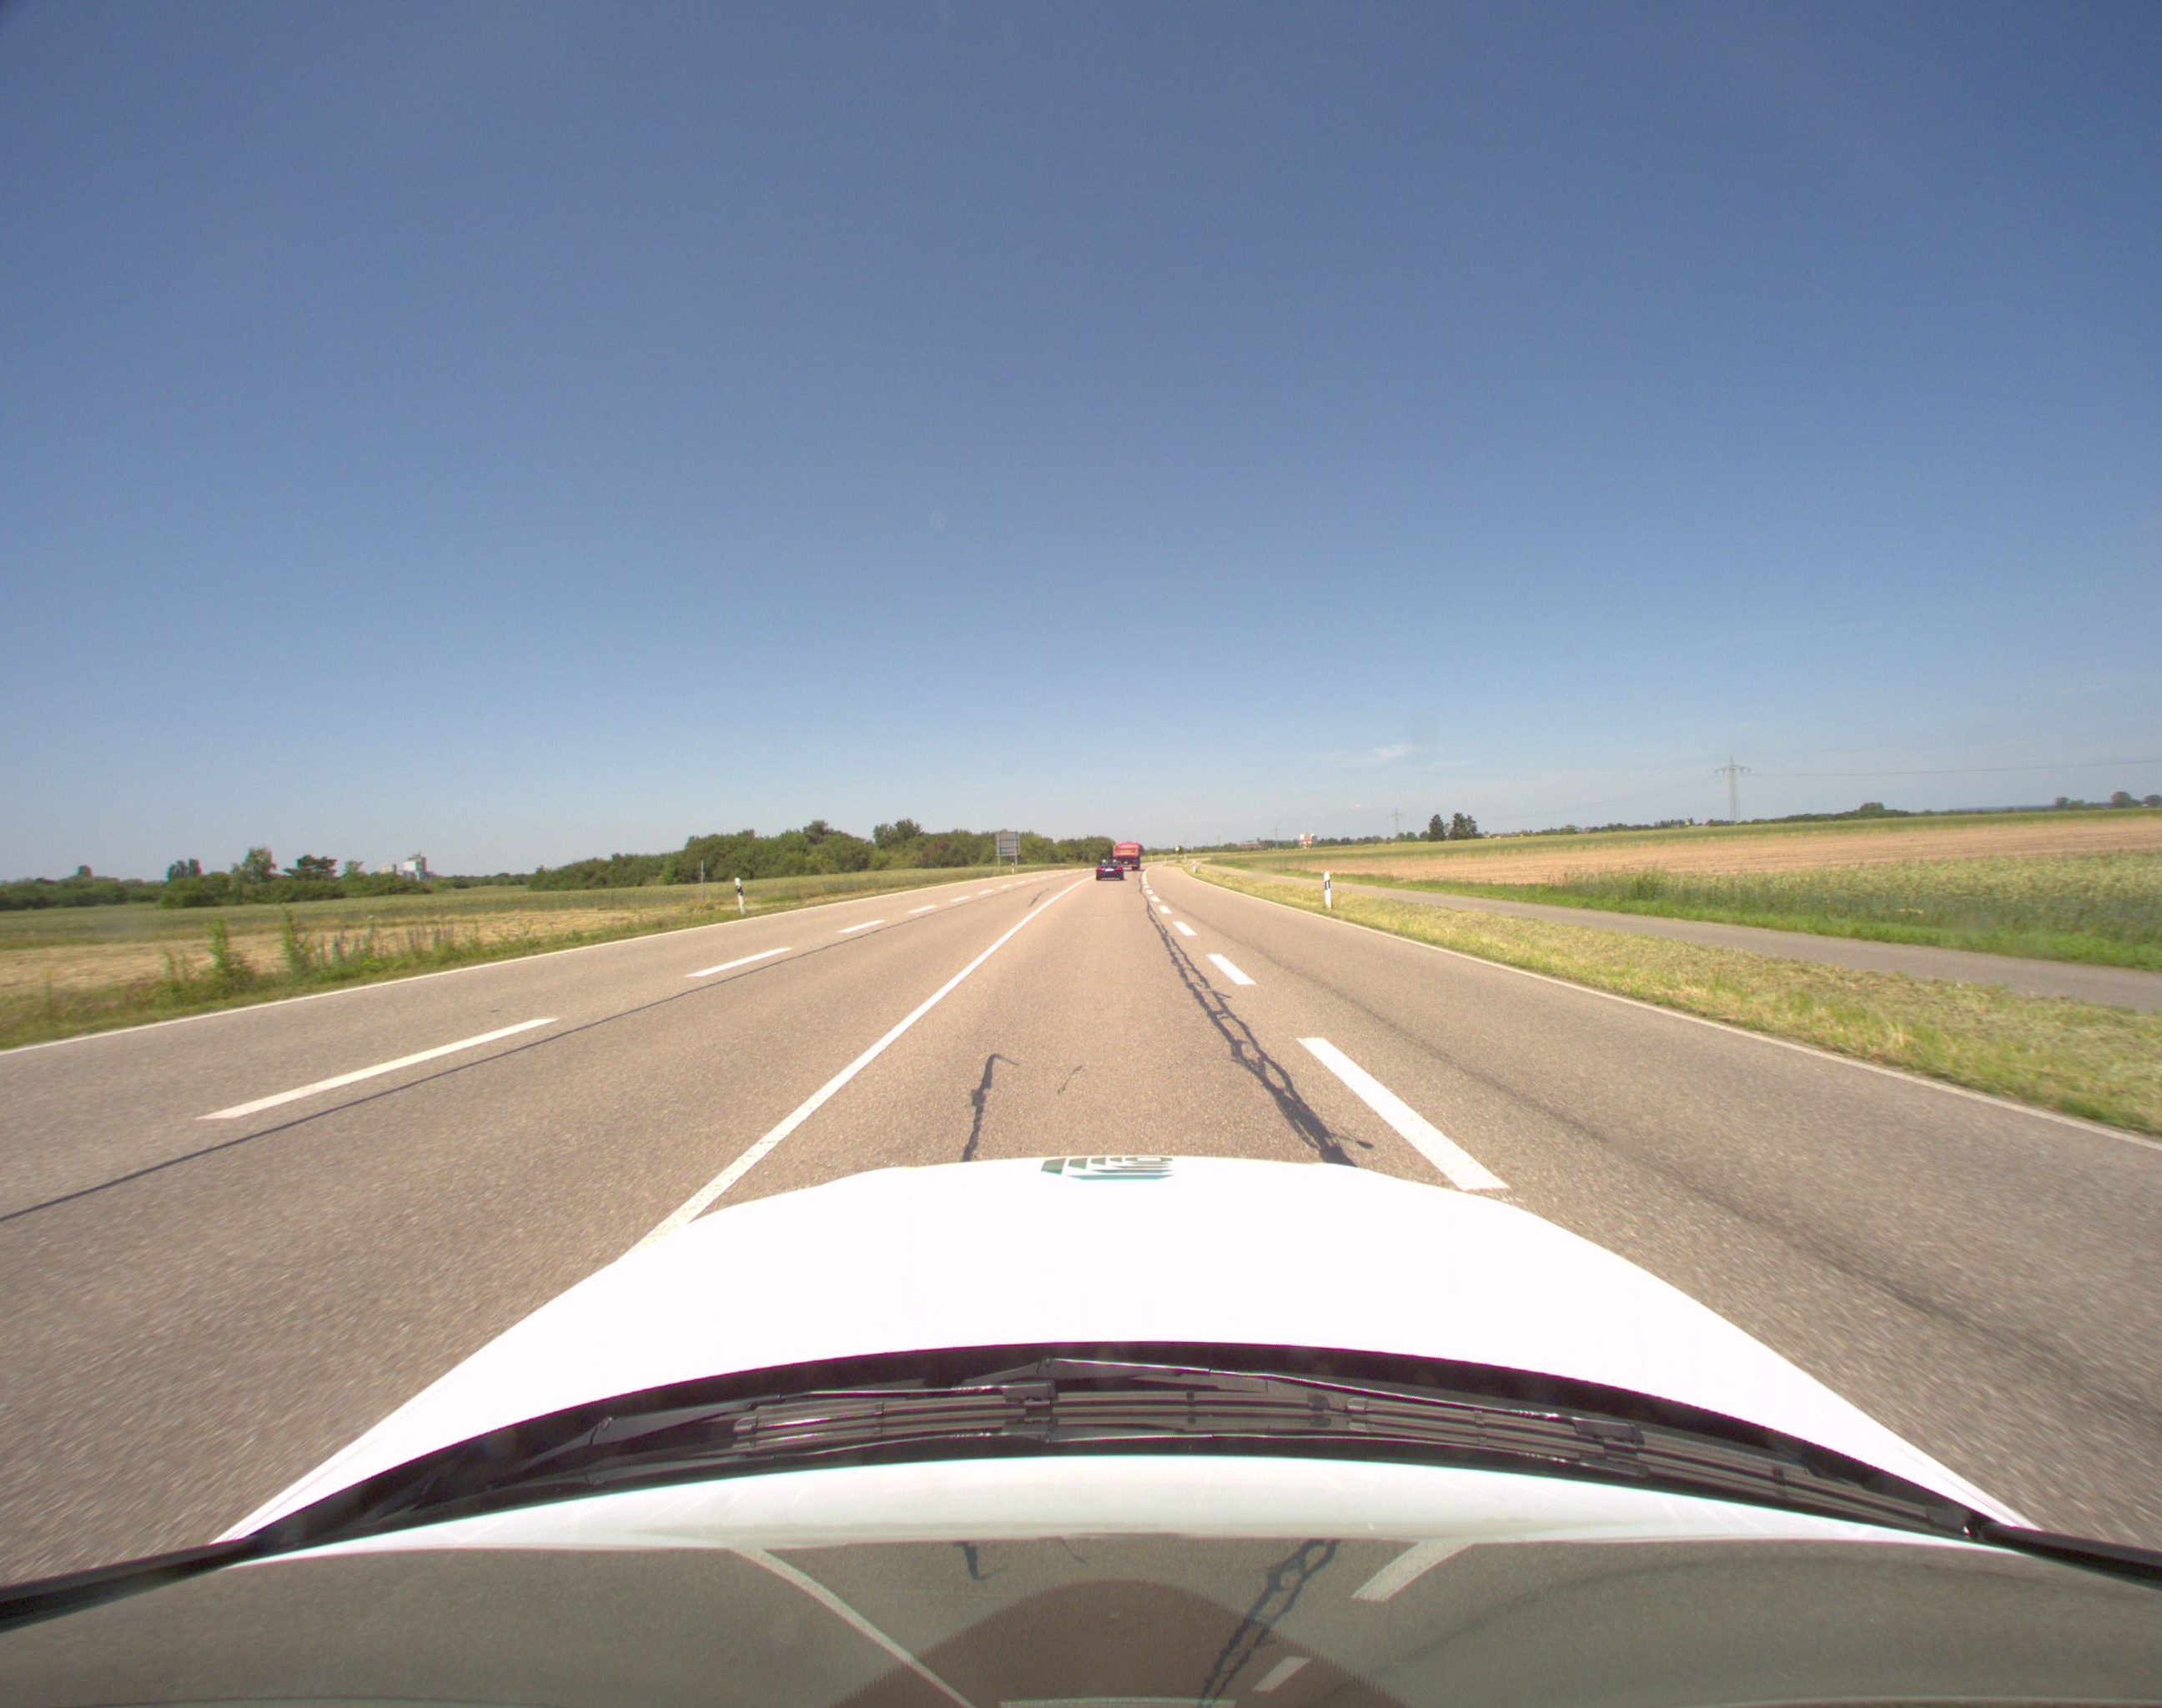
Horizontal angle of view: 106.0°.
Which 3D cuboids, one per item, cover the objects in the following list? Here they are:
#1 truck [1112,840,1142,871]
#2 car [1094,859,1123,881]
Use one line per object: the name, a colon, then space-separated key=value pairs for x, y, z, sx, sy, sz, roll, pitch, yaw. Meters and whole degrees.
truck: x=4.987 y=0.199 z=87.496 sx=2.925 sy=3.089 sz=7.203 roll=-1 pitch=-1 yaw=4
car: x=1.770 y=1.000 z=52.252 sx=1.737 sy=1.280 sz=4.002 roll=-1 pitch=0 yaw=2
